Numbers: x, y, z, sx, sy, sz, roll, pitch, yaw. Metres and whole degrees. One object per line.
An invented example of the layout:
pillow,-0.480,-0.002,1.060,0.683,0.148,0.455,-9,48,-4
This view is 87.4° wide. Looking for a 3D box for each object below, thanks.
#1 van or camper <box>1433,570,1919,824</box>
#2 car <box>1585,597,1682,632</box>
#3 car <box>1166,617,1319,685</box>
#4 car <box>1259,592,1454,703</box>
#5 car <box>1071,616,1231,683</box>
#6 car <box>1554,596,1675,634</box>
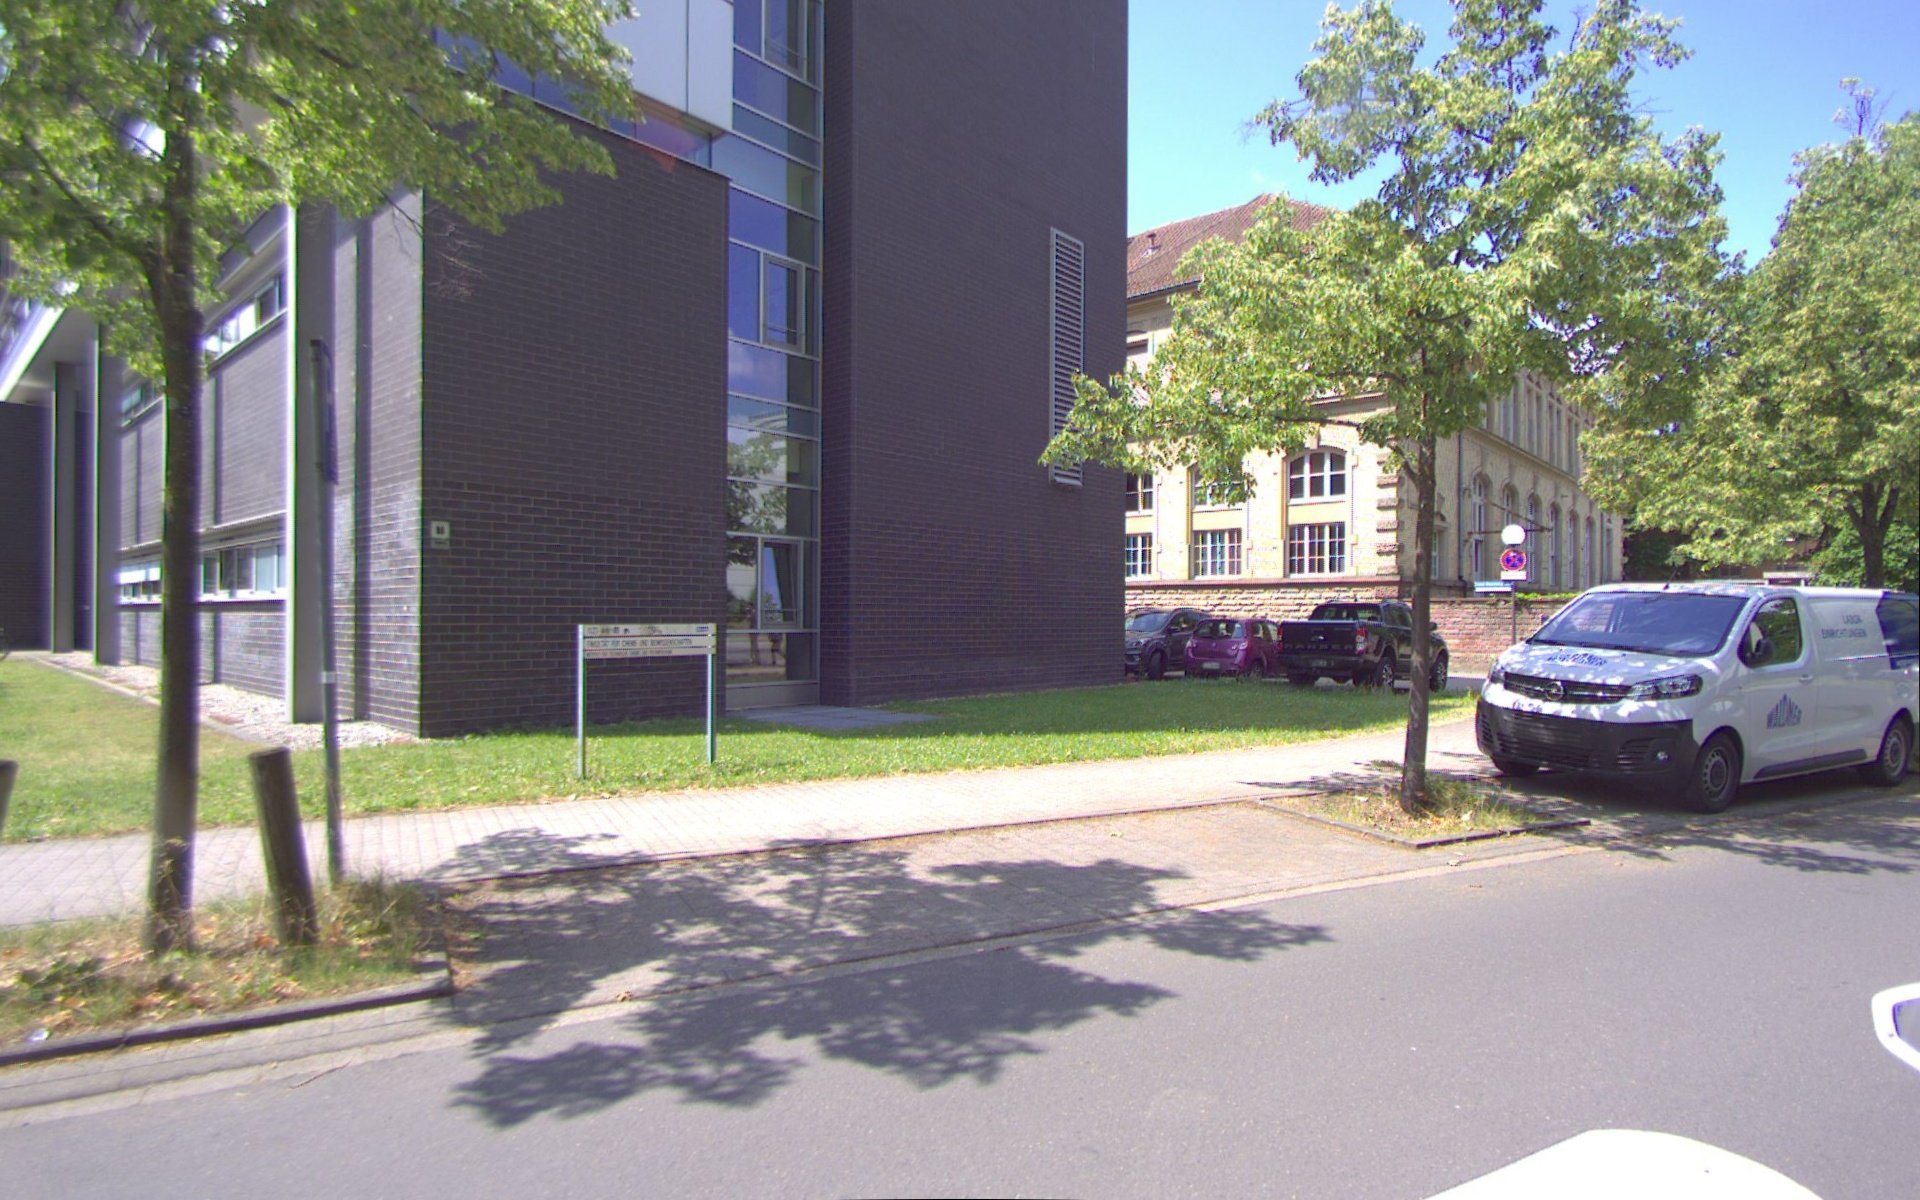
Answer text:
van or camper,7.268,0.775,9.823,5.351,1.949,1.946,1,0,-28
car,33.047,0.690,49.333,3.807,1.643,1.749,0,-1,39
car,6.244,1.048,21.995,1.796,1.341,3.748,0,-1,41
car,8.123,0.875,20.266,2.149,1.951,5.161,0,-1,40
car,4.545,1.089,23.471,1.796,1.341,4.141,3,1,41
car,27.135,0.612,41.795,4.025,1.537,1.755,0,-1,26
